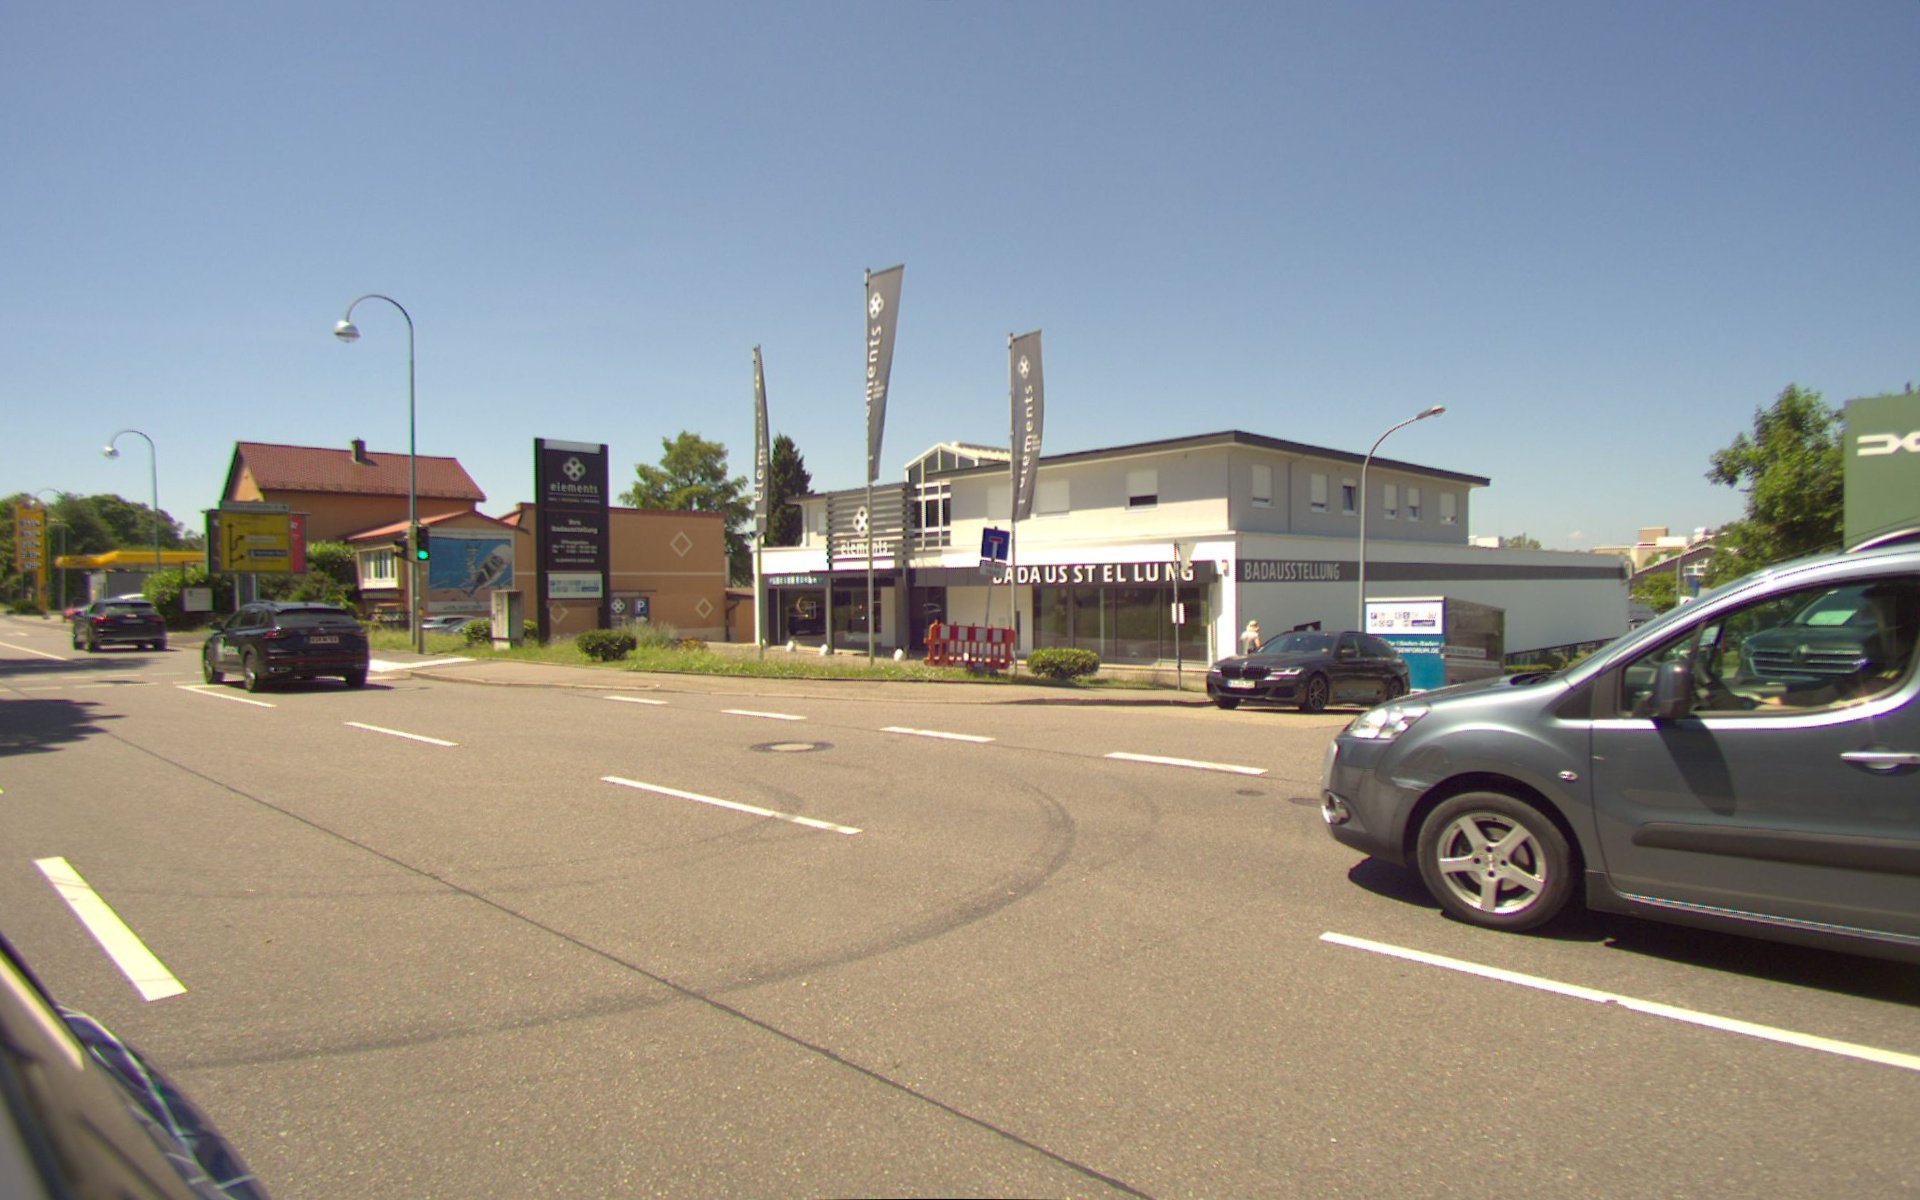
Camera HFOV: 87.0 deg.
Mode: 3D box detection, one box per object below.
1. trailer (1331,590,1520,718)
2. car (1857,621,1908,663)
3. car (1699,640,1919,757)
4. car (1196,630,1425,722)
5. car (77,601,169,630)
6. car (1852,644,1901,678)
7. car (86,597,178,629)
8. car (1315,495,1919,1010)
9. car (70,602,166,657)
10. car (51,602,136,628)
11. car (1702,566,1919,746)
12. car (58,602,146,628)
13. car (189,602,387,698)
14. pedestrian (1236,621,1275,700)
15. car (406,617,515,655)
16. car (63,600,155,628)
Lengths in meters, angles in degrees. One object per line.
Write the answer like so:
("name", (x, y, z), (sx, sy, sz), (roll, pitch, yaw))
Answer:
("trailer", (10.103, 1.176, 21.736), (5.288, 2.424, 1.942), (5, -4, -45))
("car", (69.930, 3.124, 76.680), (6.249, 3.013, 2.247), (0, 0, -42))
("car", (15.316, 1.644, 17.160), (1.784, 1.735, 4.101), (4, -2, -32))
("car", (6.409, 1.319, 18.140), (4.897, 1.397, 1.919), (4, -3, -45))
("car", (-52.989, 0.939, 64.116), (1.872, 1.773, 4.194), (0, 0, 37))
("car", (61.958, 4.074, 68.419), (3.939, 2.071, 2.086), (0, 0, -42))
("car", (-51.286, 0.786, 62.736), (1.872, 1.883, 4.140), (0, 0, 37))
("car", (4.015, 0.531, 4.074), (4.565, 1.775, 1.793), (-1, -1, 39))
("car", (-25.735, 0.855, 30.870), (1.904, 1.567, 4.305), (0, -1, -45))
("car", (-61.444, 1.032, 71.813), (1.872, 1.773, 4.348), (0, 0, 37))
("car", (11.089, 0.619, 11.443), (4.381, 1.741, 2.069), (0, -4, -18))
("car", (-59.531, 1.018, 70.282), (1.872, 1.773, 4.348), (0, 0, 37))
("car", (-11.969, 0.799, 17.937), (4.049, 1.518, 1.850), (0, 0, 40))
("pedestrian", (6.807, 1.380, 23.346), (0.535, 1.775, 0.704), (0, -1, -20))
("car", (-22.797, 1.623, 46.259), (4.163, 1.621, 1.774), (0, -1, -40))
("car", (-56.325, 0.918, 67.054), (1.872, 1.773, 4.348), (0, 0, 37))
